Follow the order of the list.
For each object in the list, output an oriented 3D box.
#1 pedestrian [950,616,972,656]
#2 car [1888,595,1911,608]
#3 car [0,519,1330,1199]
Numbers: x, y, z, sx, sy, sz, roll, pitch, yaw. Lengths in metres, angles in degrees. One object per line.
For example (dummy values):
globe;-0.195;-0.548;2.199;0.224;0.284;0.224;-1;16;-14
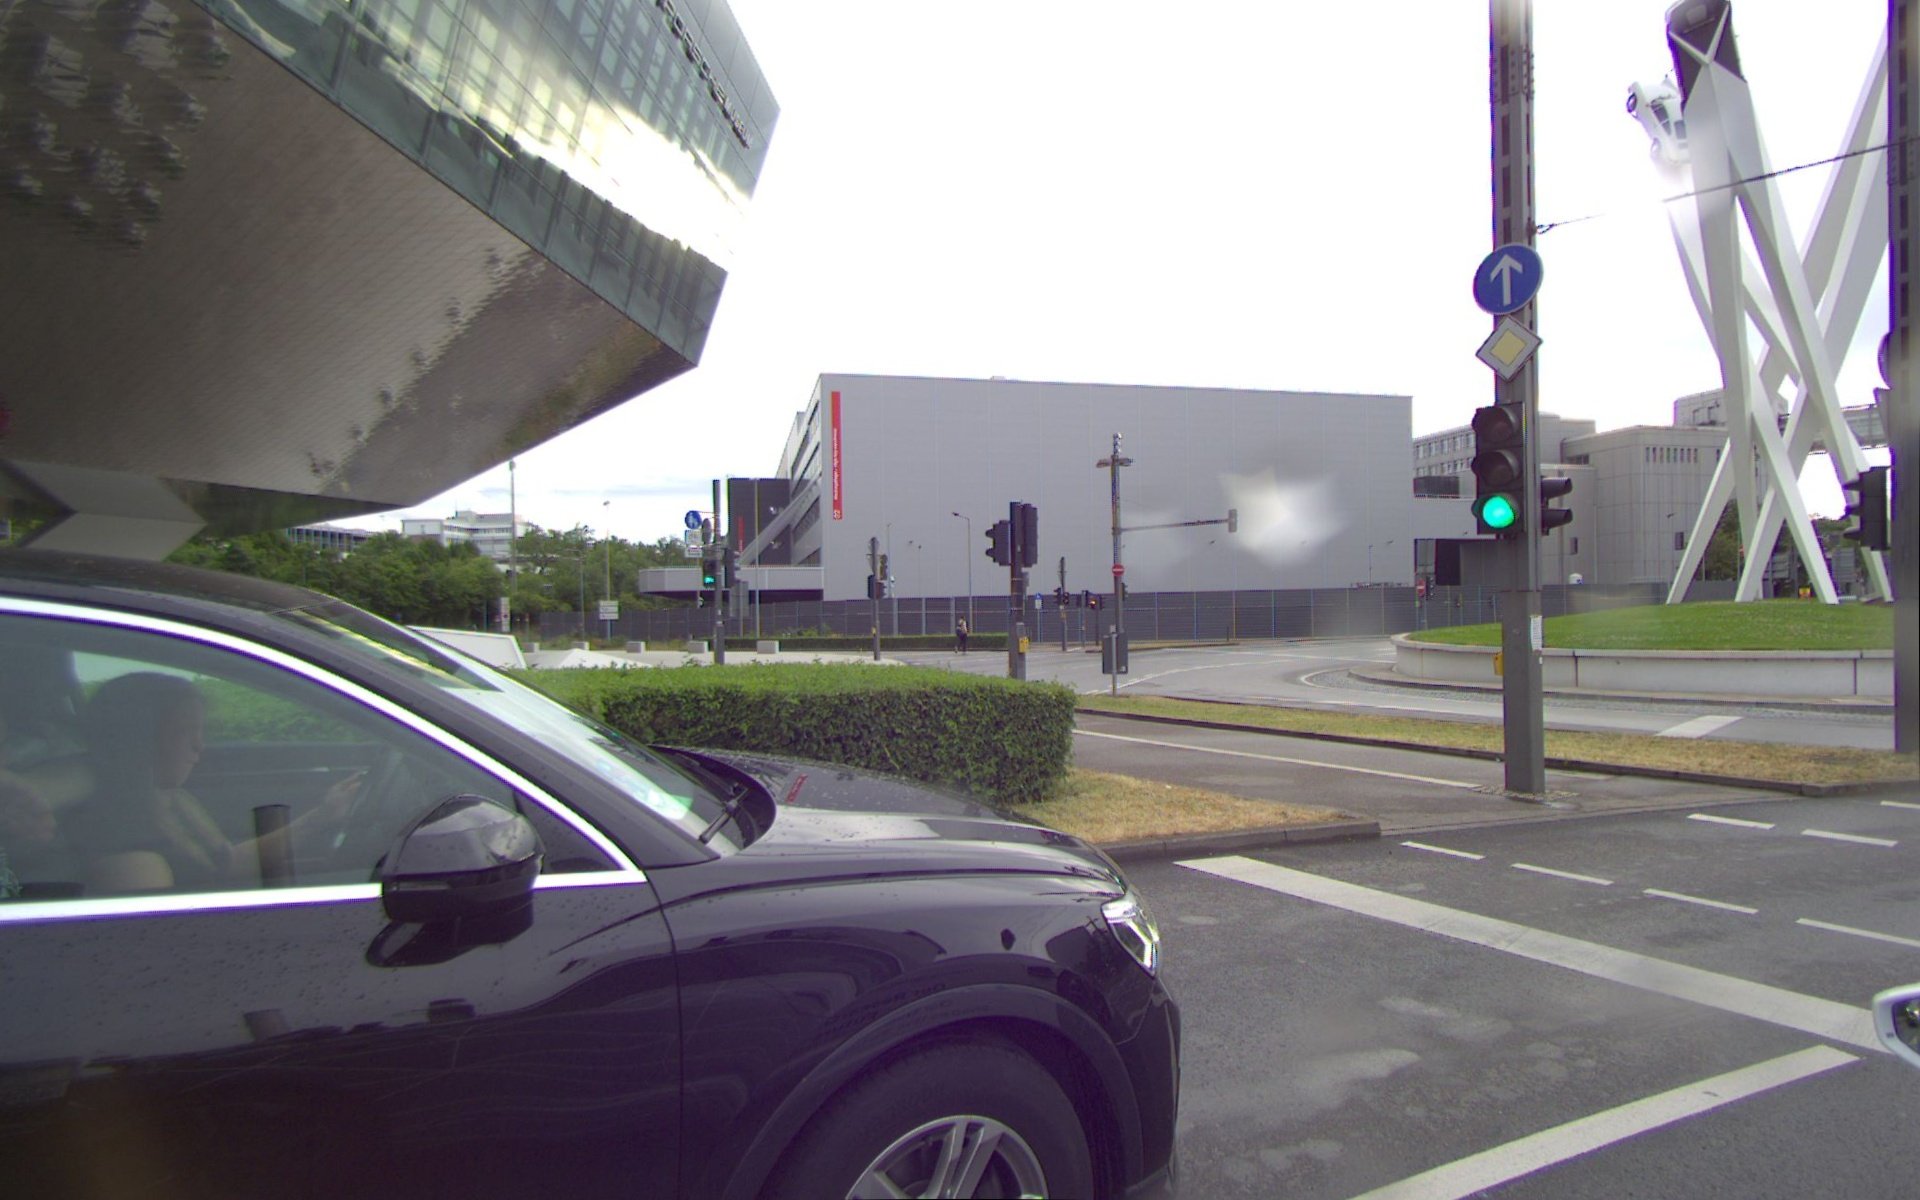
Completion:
pedestrian;0.064;1.666;46.642;0.638;1.827;0.851;0;0;35
car;106.515;0.172;113.883;1.762;1.459;4.372;-1;0;41
car;-1.525;0.677;1.772;4.344;1.538;1.743;2;0;-31
